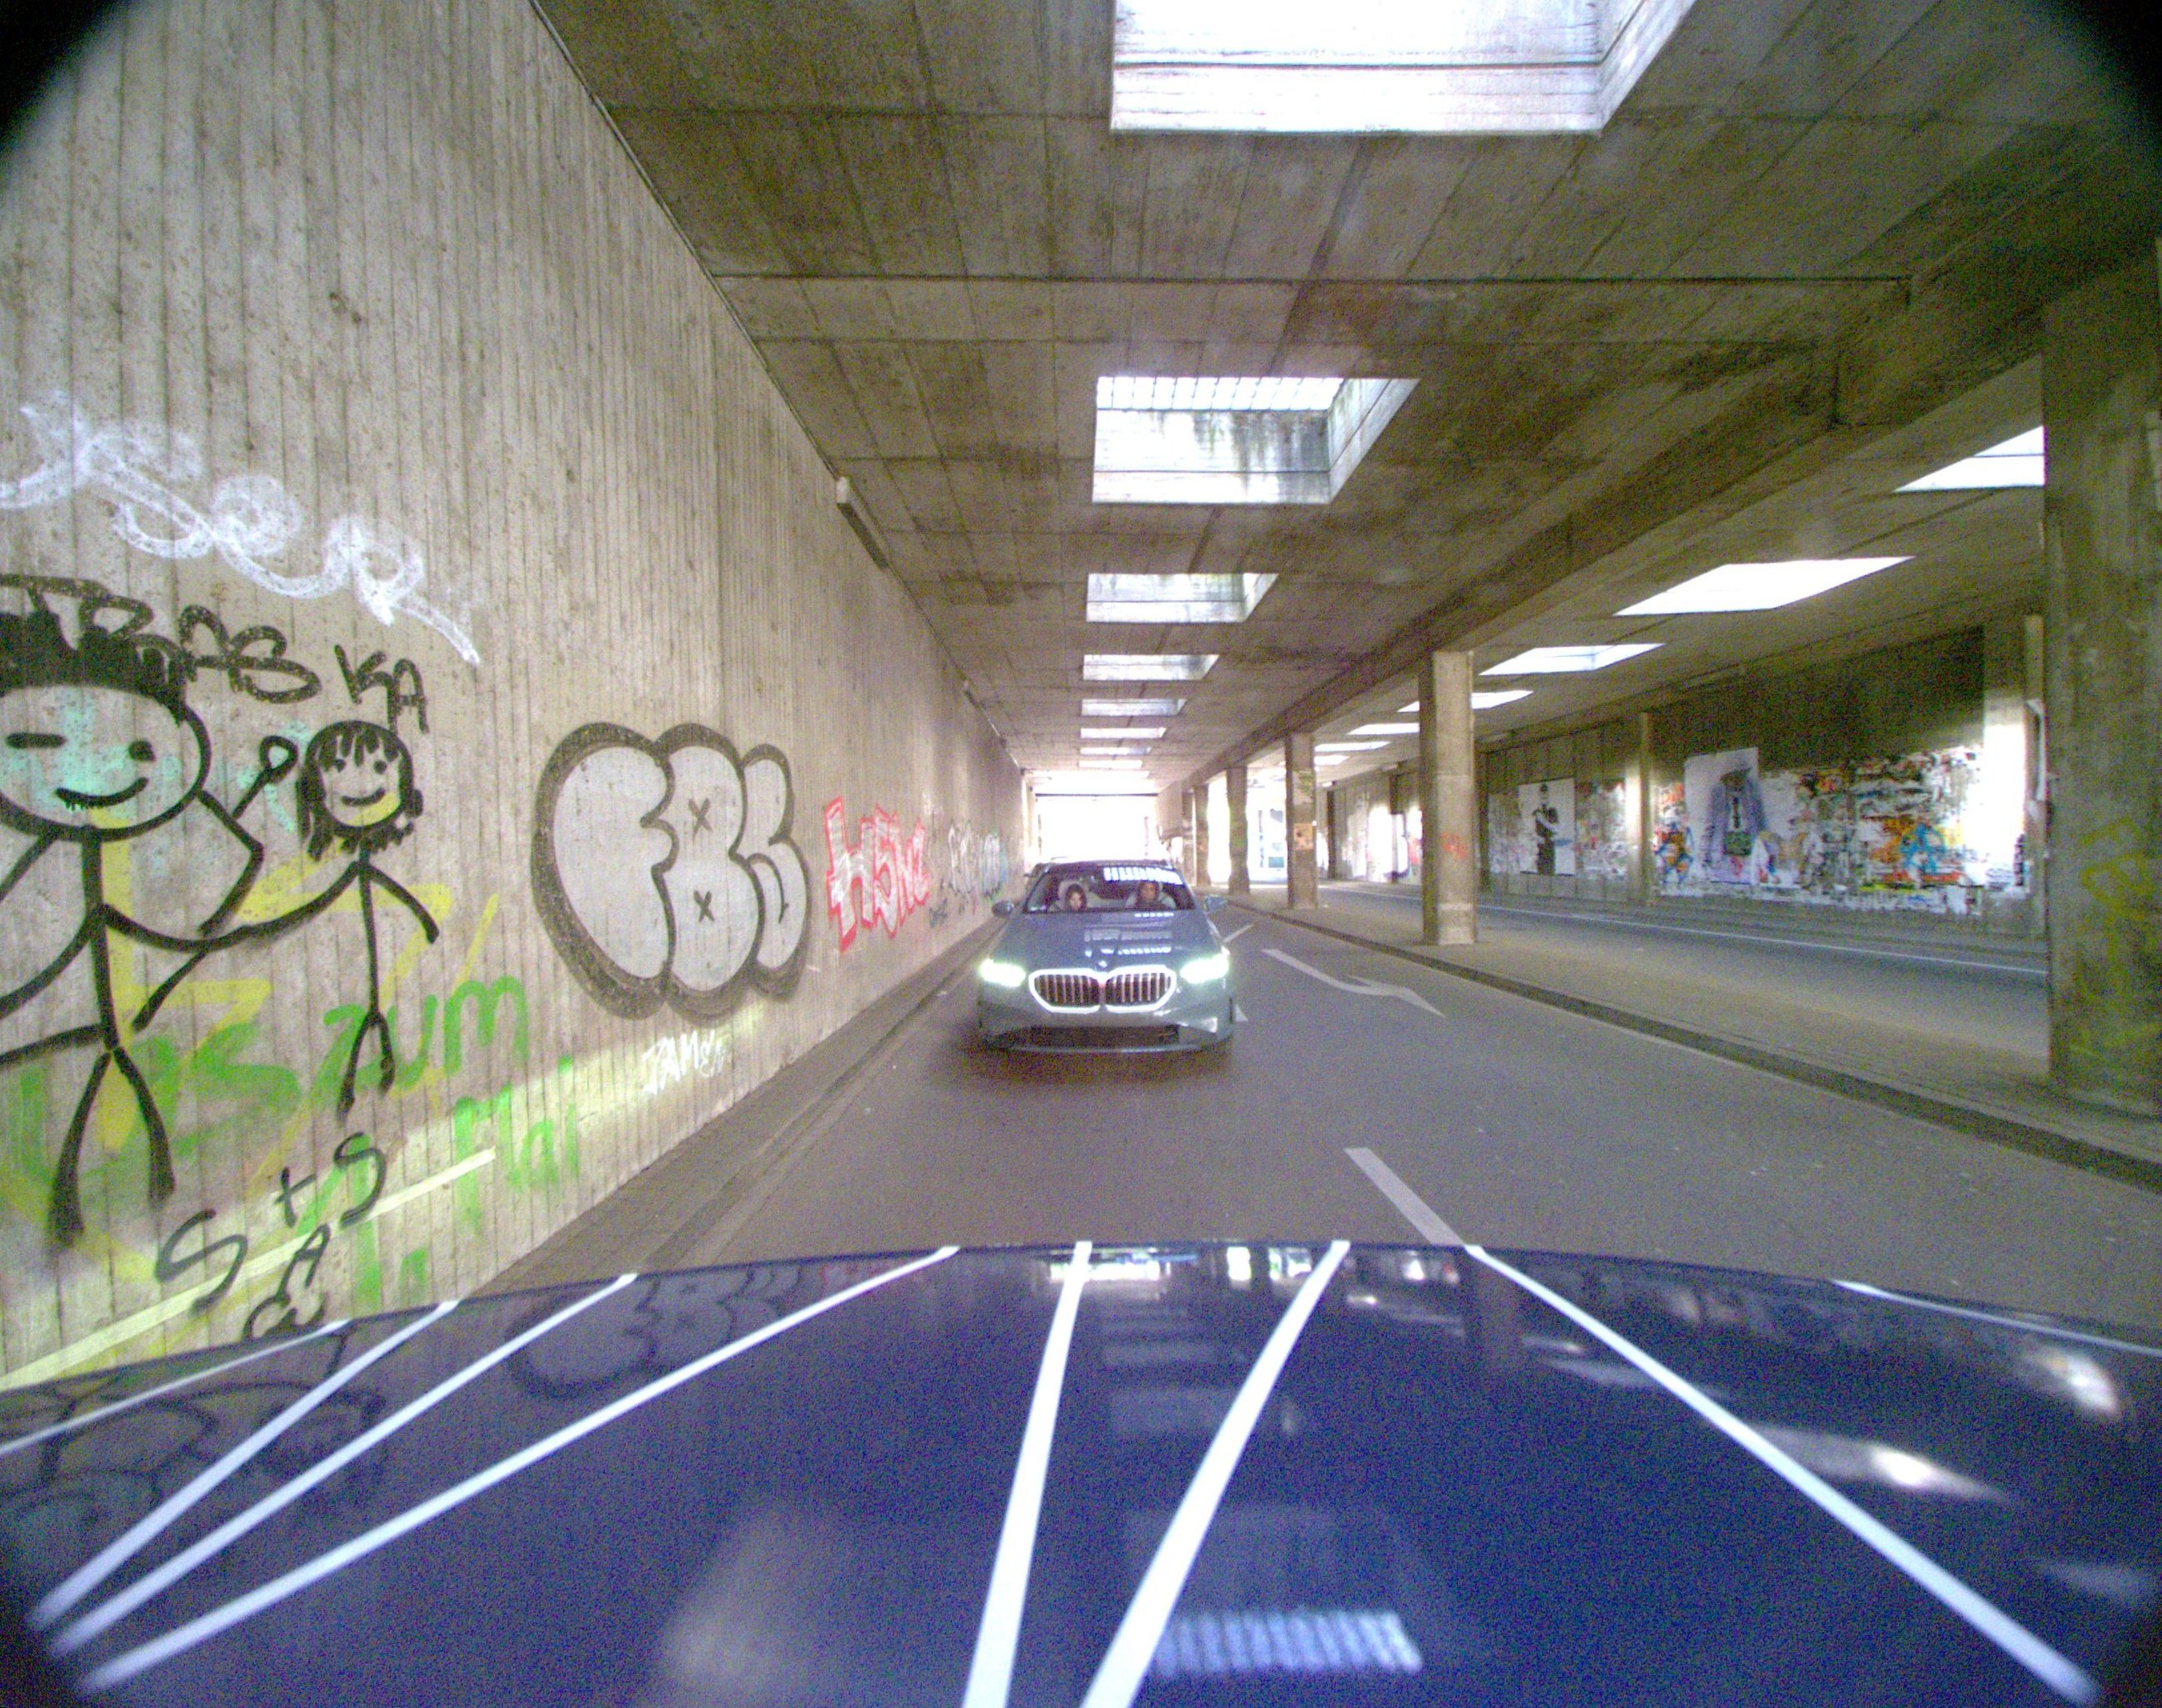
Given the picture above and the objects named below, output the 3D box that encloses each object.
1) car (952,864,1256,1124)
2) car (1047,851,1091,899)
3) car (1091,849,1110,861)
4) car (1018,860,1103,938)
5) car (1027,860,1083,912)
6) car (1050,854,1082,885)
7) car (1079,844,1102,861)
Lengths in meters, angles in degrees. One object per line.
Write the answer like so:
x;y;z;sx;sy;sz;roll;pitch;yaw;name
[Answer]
0.131;0.908;7.272;1.861;1.516;5.042;-2;0;0;car
-0.458;0.776;29.914;1.592;1.711;3.694;-2;0;0;car
2.488;0.151;97.961;1.741;1.519;3.786;-2;0;-9;car
-0.421;0.923;17.281;1.679;1.516;3.969;-2;0;0;car
-0.757;0.952;23.907;1.592;1.432;3.806;-2;0;0;car
-0.801;0.811;41.241;1.592;1.562;3.694;-2;0;0;car
1.292;-0.179;103.653;2.161;2.150;4.785;-2;0;-12;car
